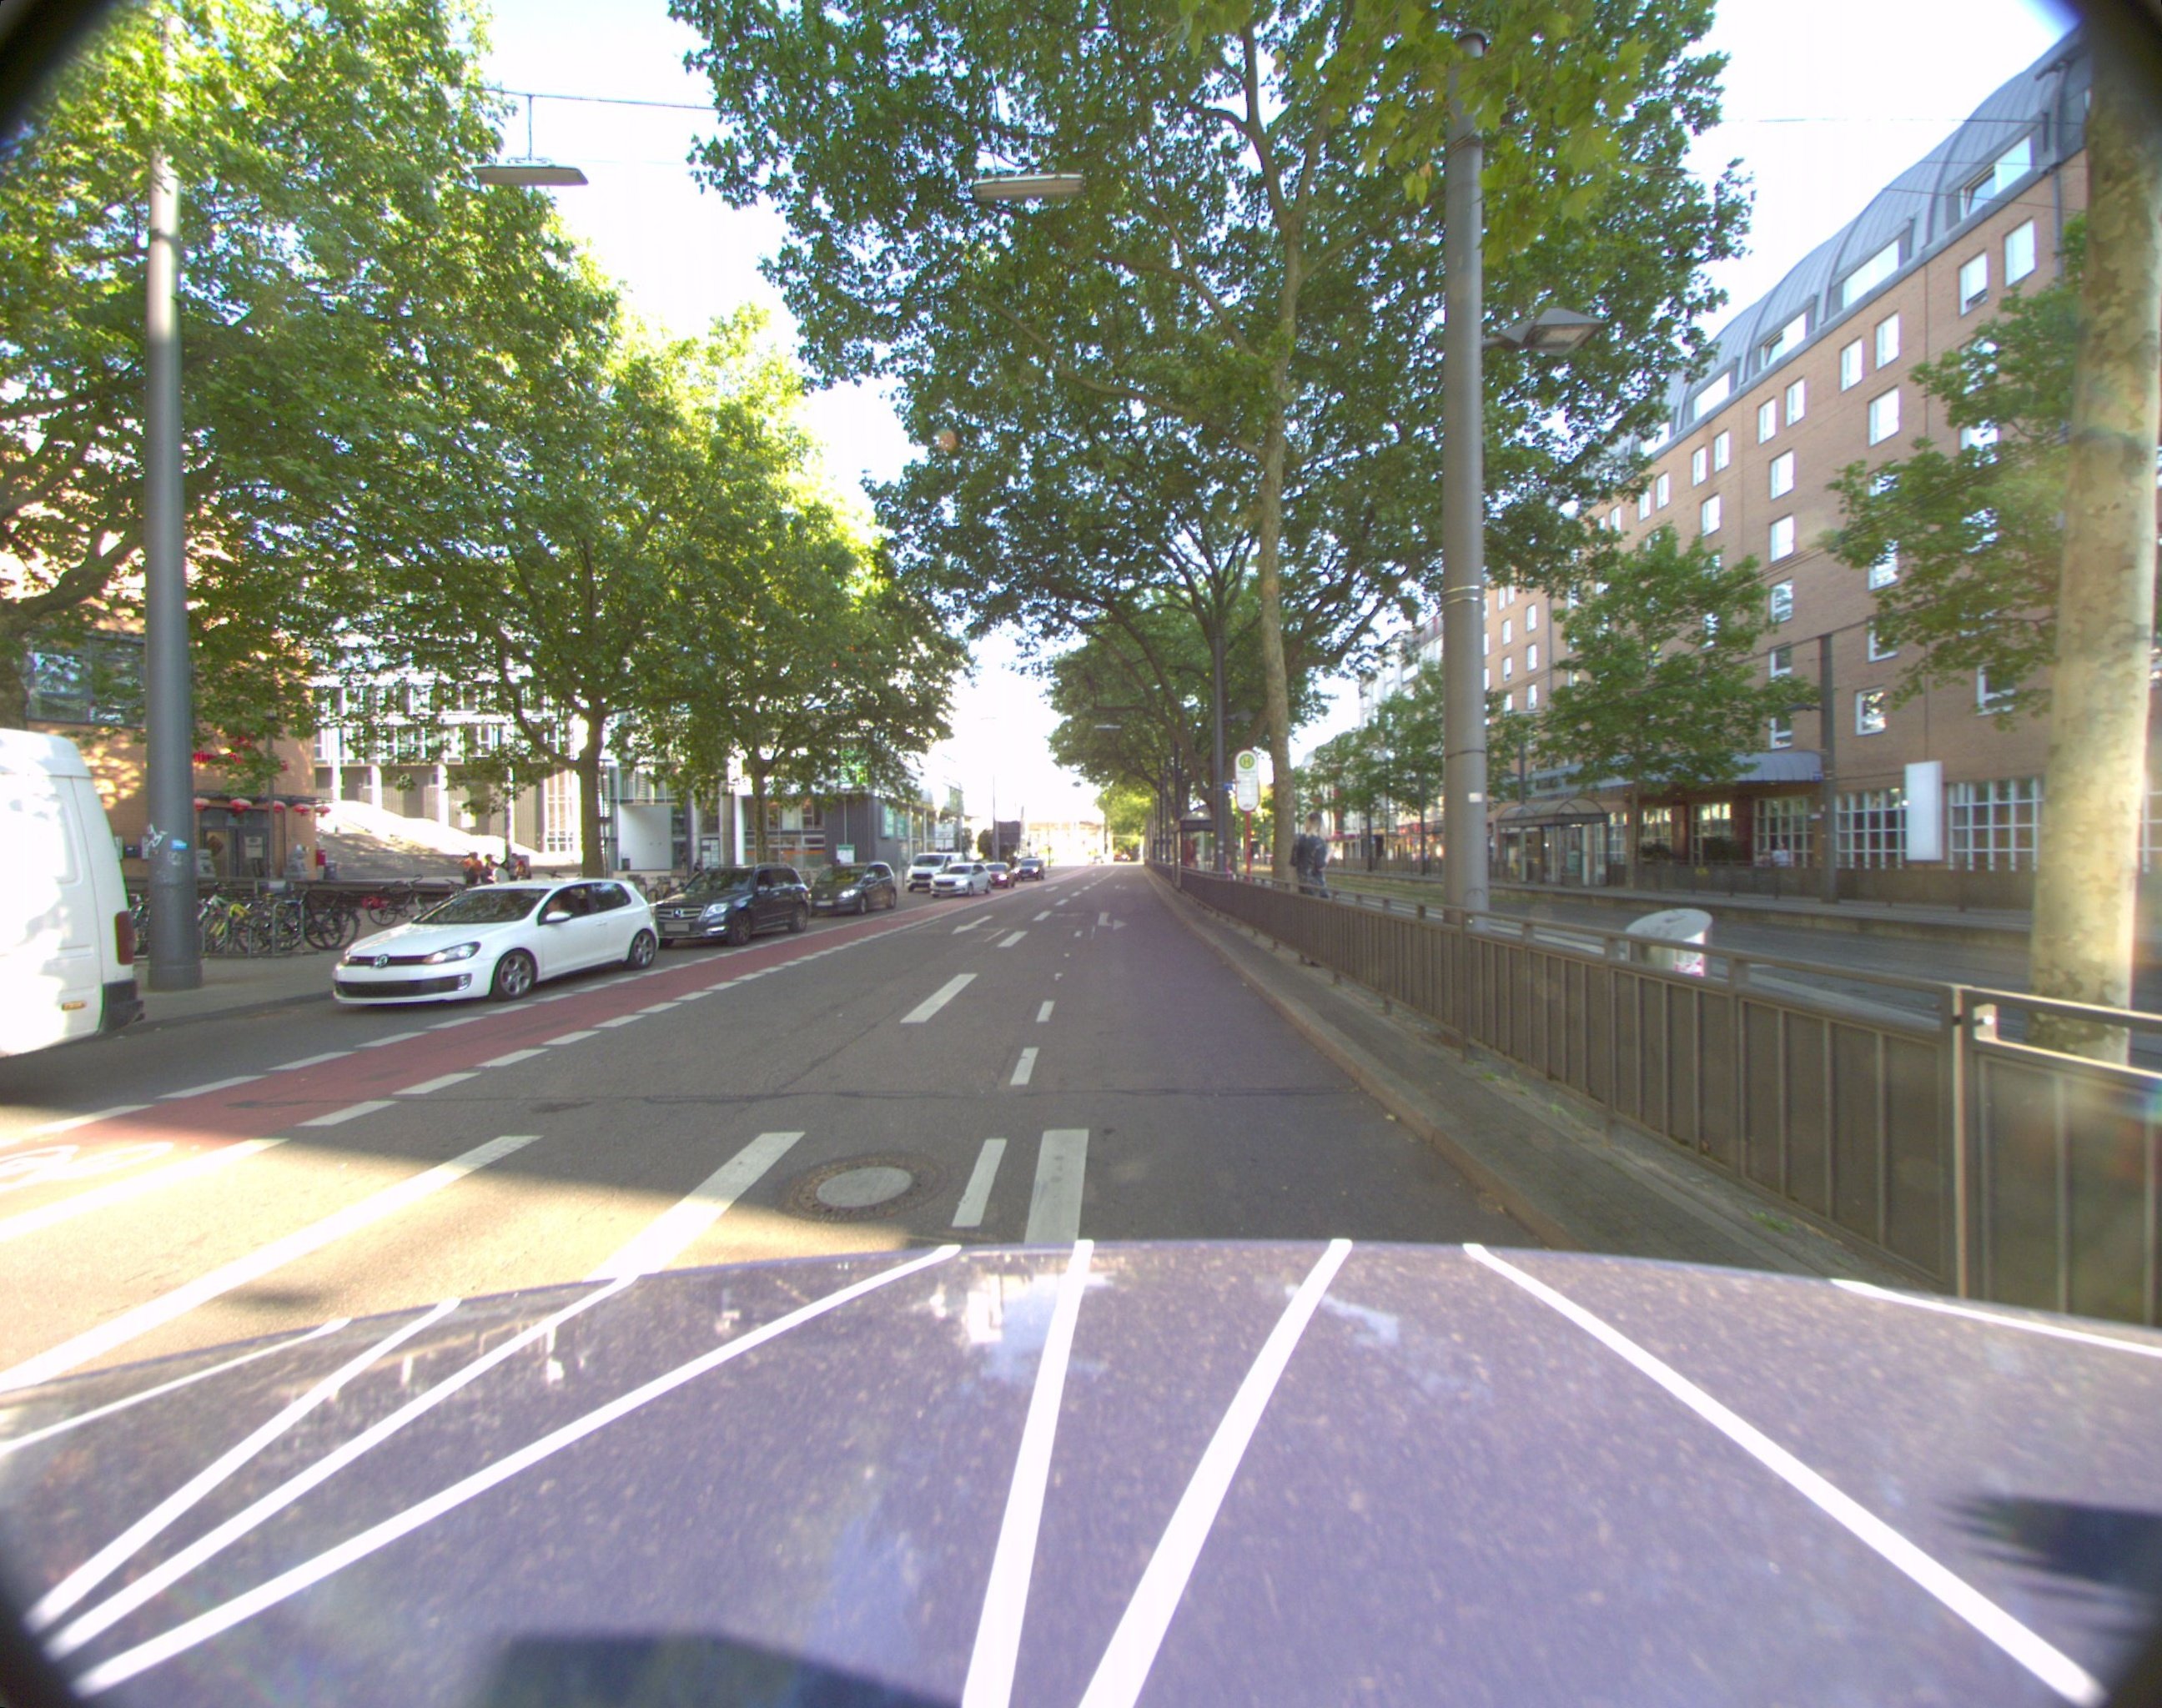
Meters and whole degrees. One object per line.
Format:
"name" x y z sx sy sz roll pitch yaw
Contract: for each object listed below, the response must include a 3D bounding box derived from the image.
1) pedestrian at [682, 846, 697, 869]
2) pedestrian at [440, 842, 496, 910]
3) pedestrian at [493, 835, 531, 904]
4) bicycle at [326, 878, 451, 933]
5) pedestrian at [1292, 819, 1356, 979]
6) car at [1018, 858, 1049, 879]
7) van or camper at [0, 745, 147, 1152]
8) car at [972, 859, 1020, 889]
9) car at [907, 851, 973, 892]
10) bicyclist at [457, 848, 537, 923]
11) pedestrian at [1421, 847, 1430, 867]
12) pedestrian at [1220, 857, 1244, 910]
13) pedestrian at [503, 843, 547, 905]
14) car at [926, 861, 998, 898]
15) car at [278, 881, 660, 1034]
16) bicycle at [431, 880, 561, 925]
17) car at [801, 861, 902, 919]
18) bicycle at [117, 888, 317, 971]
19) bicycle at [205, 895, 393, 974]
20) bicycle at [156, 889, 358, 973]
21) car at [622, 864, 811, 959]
"pedestrian" -34.401 0.309 66.789 0.797 2.002 0.875 -2 1 1
"pedestrian" -21.257 0.746 26.351 1.048 2.235 1.221 -1 1 38
"pedestrian" -22.101 0.589 29.520 0.981 2.633 0.900 -3 1 -31
"bicycle" -17.850 1.291 19.704 0.699 1.193 2.700 -2 1 1
"pedestrian" 2.882 0.521 9.043 0.543 1.823 0.524 -2 1 1
"car" -3.627 1.086 58.462 1.784 1.481 4.196 -3 0 3
"van or camper" -7.968 0.618 2.344 2.005 2.599 6.498 -1 0 1
"car" -4.676 1.069 42.406 1.835 1.481 4.196 -3 0 4
"car" -7.404 0.863 40.684 1.932 1.953 5.920 -2 0 5
"bicyclist" -16.151 0.840 21.046 1.296 2.002 1.158 -1 1 17
"pedestrian" 30.844 0.282 68.034 0.504 1.725 0.574 -1 1 3
"pedestrian" 3.886 0.753 19.577 0.542 1.310 0.524 -2 1 12
"pedestrian" -20.369 0.727 27.829 0.842 2.220 0.905 -2 1 22
"car" -5.329 1.105 34.502 1.834 1.481 4.198 -2 0 11
"car" -7.589 1.174 10.038 1.639 1.420 3.987 -2 0 3
"bicycle" -16.221 1.318 21.085 3.328 1.077 1.150 0 1 18
"car" -7.285 1.080 24.573 1.710 1.626 4.391 -2 0 3
"bicycle" -14.754 1.240 13.106 0.671 1.155 2.305 -2 1 3
"bicycle" -13.117 1.302 12.891 0.682 1.054 2.337 -1 1 2
"bicycle" -14.049 1.259 13.101 0.751 1.155 2.398 -2 1 2
"car" -7.413 1.080 15.998 1.769 1.626 4.250 -2 0 2
